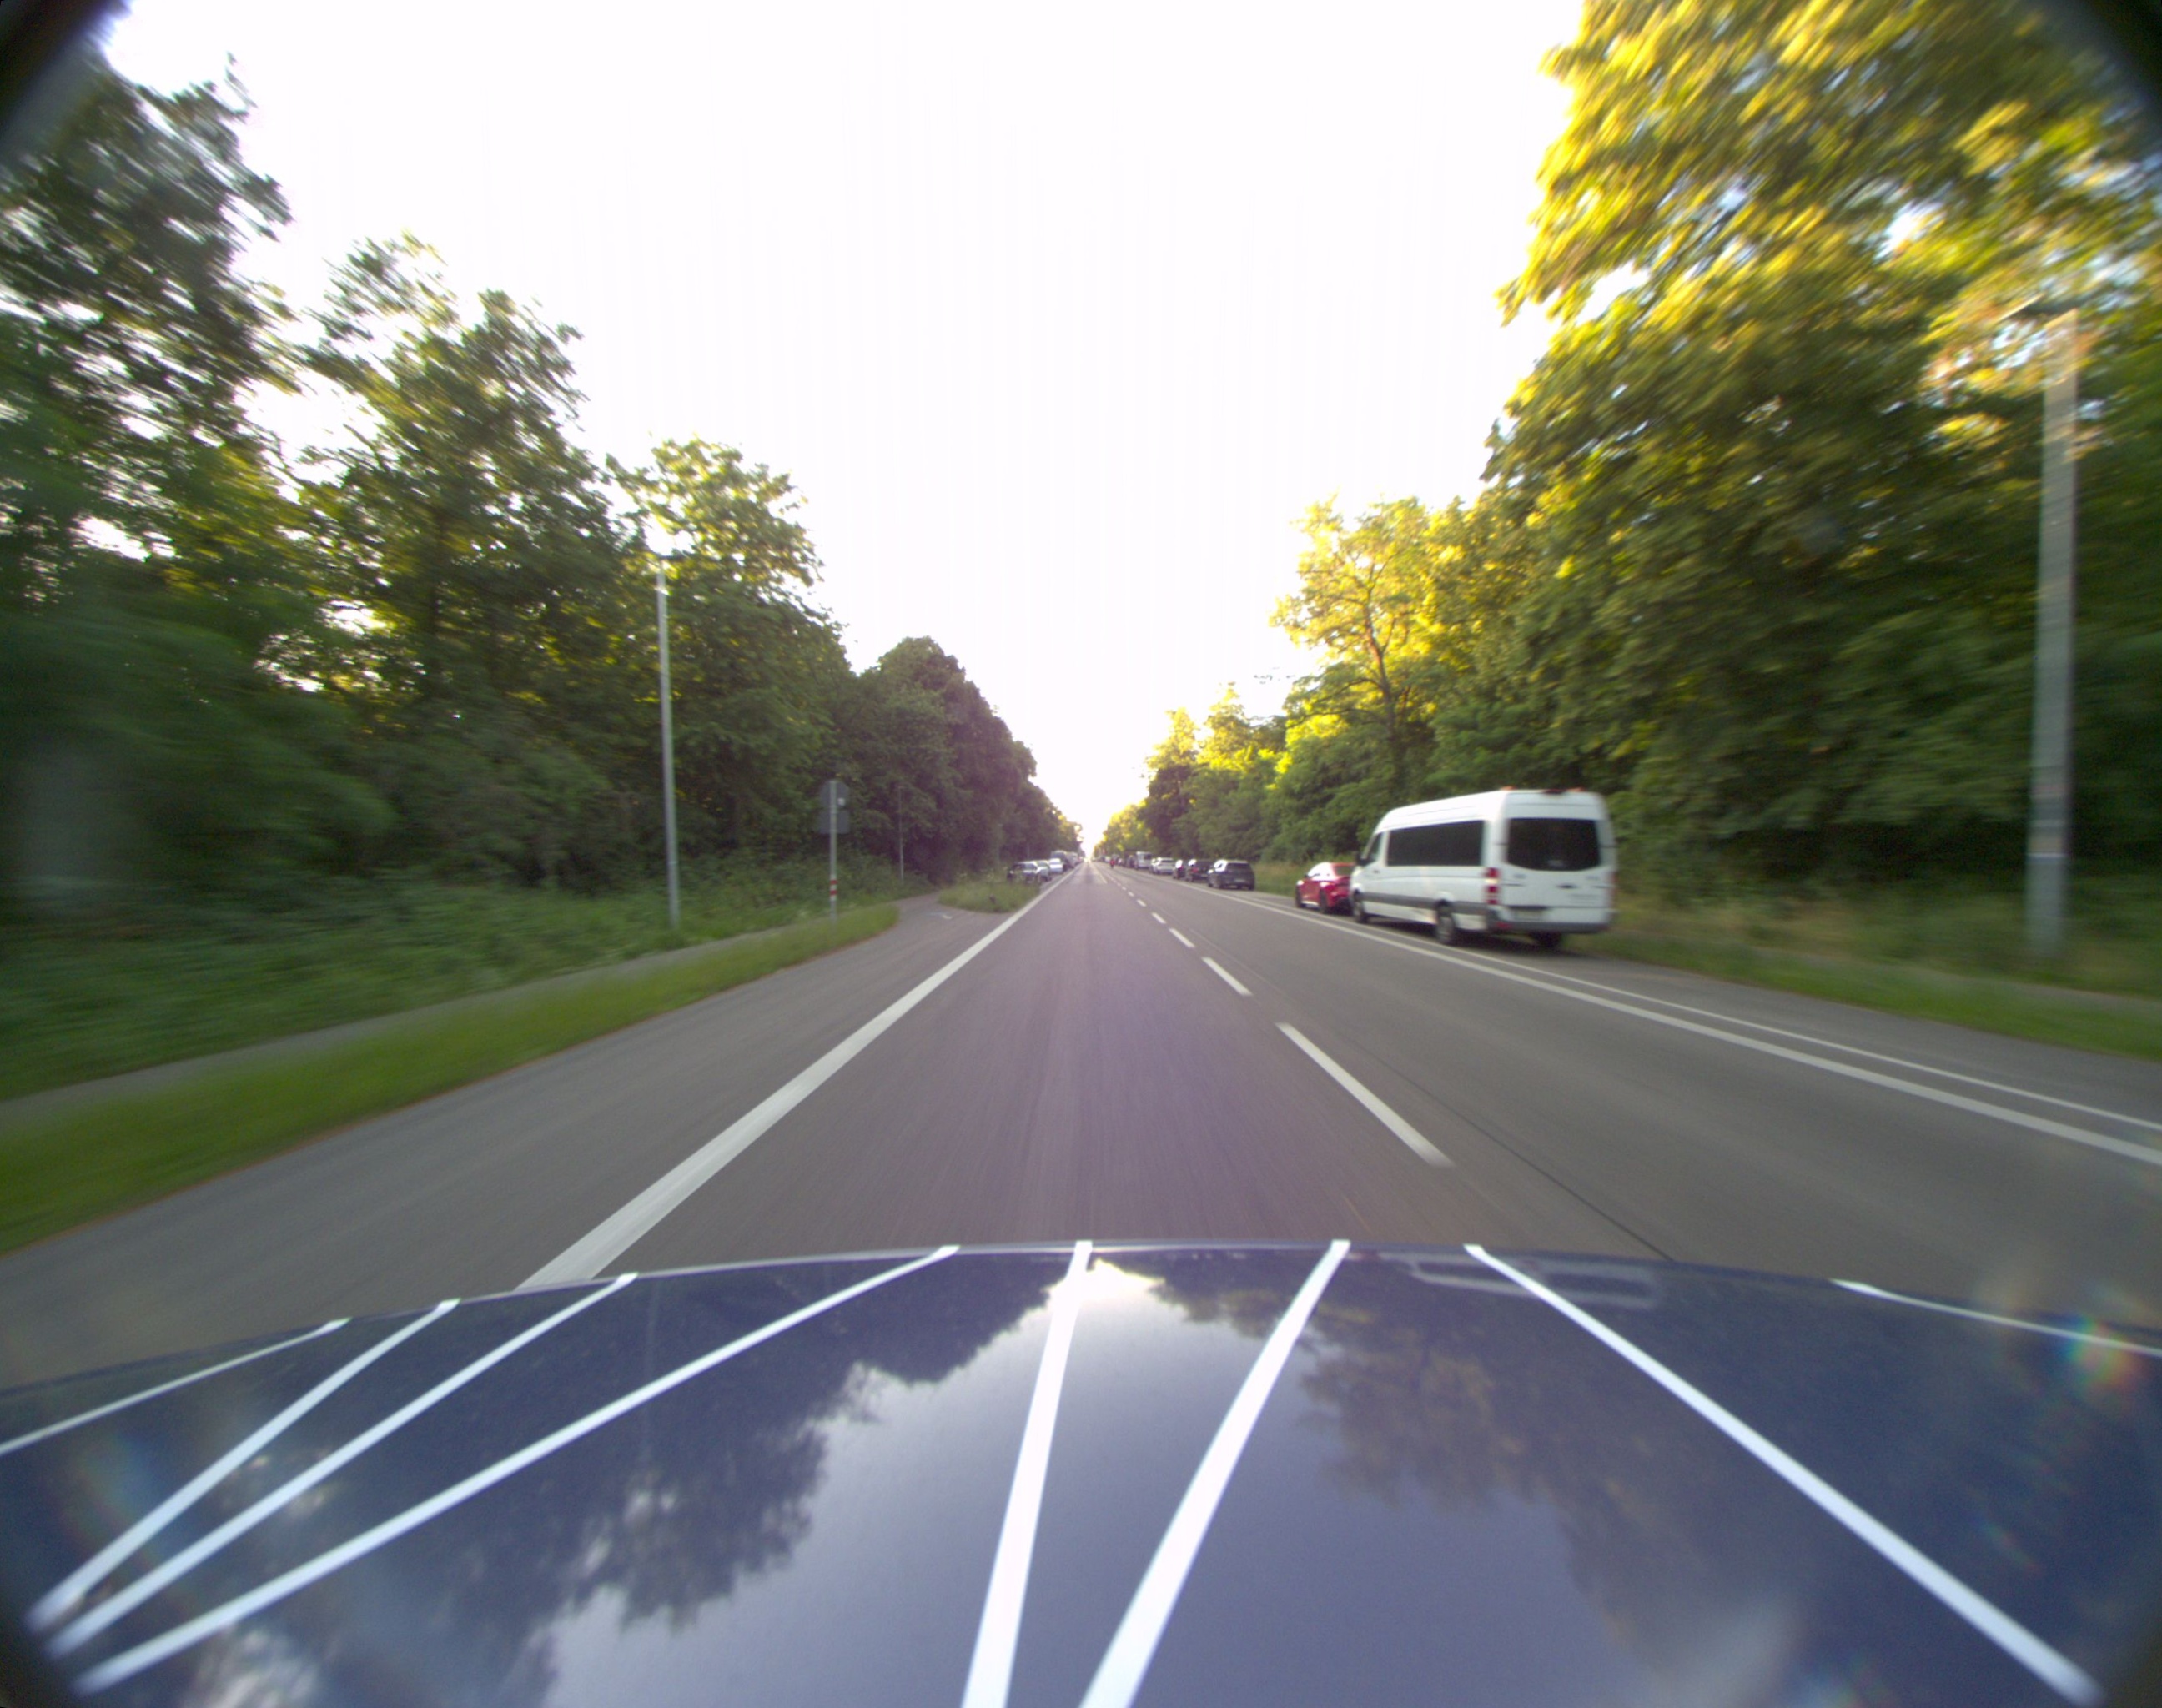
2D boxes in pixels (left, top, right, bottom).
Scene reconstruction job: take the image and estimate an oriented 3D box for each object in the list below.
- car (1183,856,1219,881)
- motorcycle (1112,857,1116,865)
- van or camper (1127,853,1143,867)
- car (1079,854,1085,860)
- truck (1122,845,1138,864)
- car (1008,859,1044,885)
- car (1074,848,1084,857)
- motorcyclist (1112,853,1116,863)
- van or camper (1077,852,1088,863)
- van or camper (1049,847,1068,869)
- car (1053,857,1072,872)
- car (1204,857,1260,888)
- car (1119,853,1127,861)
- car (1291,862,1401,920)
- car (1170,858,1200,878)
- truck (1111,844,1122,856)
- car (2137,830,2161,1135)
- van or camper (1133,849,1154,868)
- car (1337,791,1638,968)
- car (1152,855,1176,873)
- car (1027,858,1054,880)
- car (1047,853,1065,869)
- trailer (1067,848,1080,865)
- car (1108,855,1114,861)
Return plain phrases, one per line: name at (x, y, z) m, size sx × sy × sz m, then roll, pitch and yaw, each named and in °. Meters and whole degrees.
car at (7.625, 0.880, 48.493) m, size 1.716 × 1.500 × 3.657 m, roll 1°, pitch 0°, yaw 0°
motorcycle at (4.999, 1.024, 114.397) m, size 0.612 × 1.120 × 1.962 m, roll -1°, pitch 0°, yaw 3°
van or camper at (8.441, 0.944, 119.181) m, size 2.034 × 1.945 × 4.691 m, roll 3°, pitch 0°, yaw -2°
car at (0.352, 1.018, 262.446) m, size 1.844 × 2.007 × 4.197 m, roll 0°, pitch 0°, yaw 1°
truck at (8.454, 0.047, 132.500) m, size 2.226 × 3.188 × 6.271 m, roll 3°, pitch 0°, yaw -1°
car at (-3.196, 1.032, 44.760) m, size 1.715 × 1.436 × 4.122 m, roll -2°, pitch 0°, yaw 1°
car at (-0.533, -0.386, 212.795) m, size 2.537 × 2.270 × 5.554 m, roll 0°, pitch 0°, yaw 1°
motorcyclist at (4.968, 0.544, 114.362) m, size 0.605 × 1.520 × 0.995 m, roll -1°, pitch 0°, yaw 3°
van or camper at (0.489, 0.934, 204.632) m, size 3.015 × 2.704 × 6.960 m, roll 0°, pitch 0°, yaw 1°
van or camper at (-2.839, 0.566, 96.362) m, size 2.132 × 2.525 × 6.062 m, roll -2°, pitch -2°, yaw 0°
car at (-1.941, 1.070, 78.535) m, size 1.848 × 1.485 × 4.759 m, roll -2°, pitch -1°, yaw -2°
car at (7.576, 0.898, 38.526) m, size 1.850 × 1.454 × 4.229 m, roll 1°, pitch 0°, yaw -2°
car at (8.401, 0.602, 152.383) m, size 1.606 × 1.495 × 3.760 m, roll 3°, pitch 0°, yaw 3°
car at (7.362, 0.955, 21.564) m, size 1.720 × 1.422 × 4.388 m, roll 0°, pitch 0°, yaw 2°
car at (7.457, 0.953, 54.560) m, size 1.601 × 1.386 × 4.051 m, roll 0°, pitch 0°, yaw 0°
truck at (9.630, -1.015, 204.003) m, size 2.654 × 3.038 × 5.800 m, roll -2°, pitch 0°, yaw 1°
car at (7.488, 0.804, 2.538) m, size 1.692 × 1.847 × 4.386 m, roll 2°, pitch 0°, yaw -2°
van or camper at (8.171, 0.565, 99.396) m, size 2.116 × 2.376 × 6.381 m, roll 2°, pitch 0°, yaw -1°
car at (7.300, 0.374, 14.959) m, size 2.084 × 2.591 × 7.088 m, roll 2°, pitch 0°, yaw 0°
car at (7.817, 0.901, 72.004) m, size 1.699 × 1.636 × 4.572 m, roll 1°, pitch 0°, yaw -1°
car at (-2.889, 1.045, 54.922) m, size 1.693 × 1.537 × 4.112 m, roll -1°, pitch 0°, yaw 1°
car at (-2.884, 0.778, 87.987) m, size 1.856 × 1.754 × 4.724 m, roll -2°, pitch 0°, yaw -2°
trailer at (-1.217, 0.412, 119.282) m, size 1.866 × 2.633 × 4.269 m, roll -2°, pitch 0°, yaw 0°
car at (10.028, 1.398, 255.278) m, size 1.998 × 1.893 × 4.000 m, roll -2°, pitch 0°, yaw 1°
